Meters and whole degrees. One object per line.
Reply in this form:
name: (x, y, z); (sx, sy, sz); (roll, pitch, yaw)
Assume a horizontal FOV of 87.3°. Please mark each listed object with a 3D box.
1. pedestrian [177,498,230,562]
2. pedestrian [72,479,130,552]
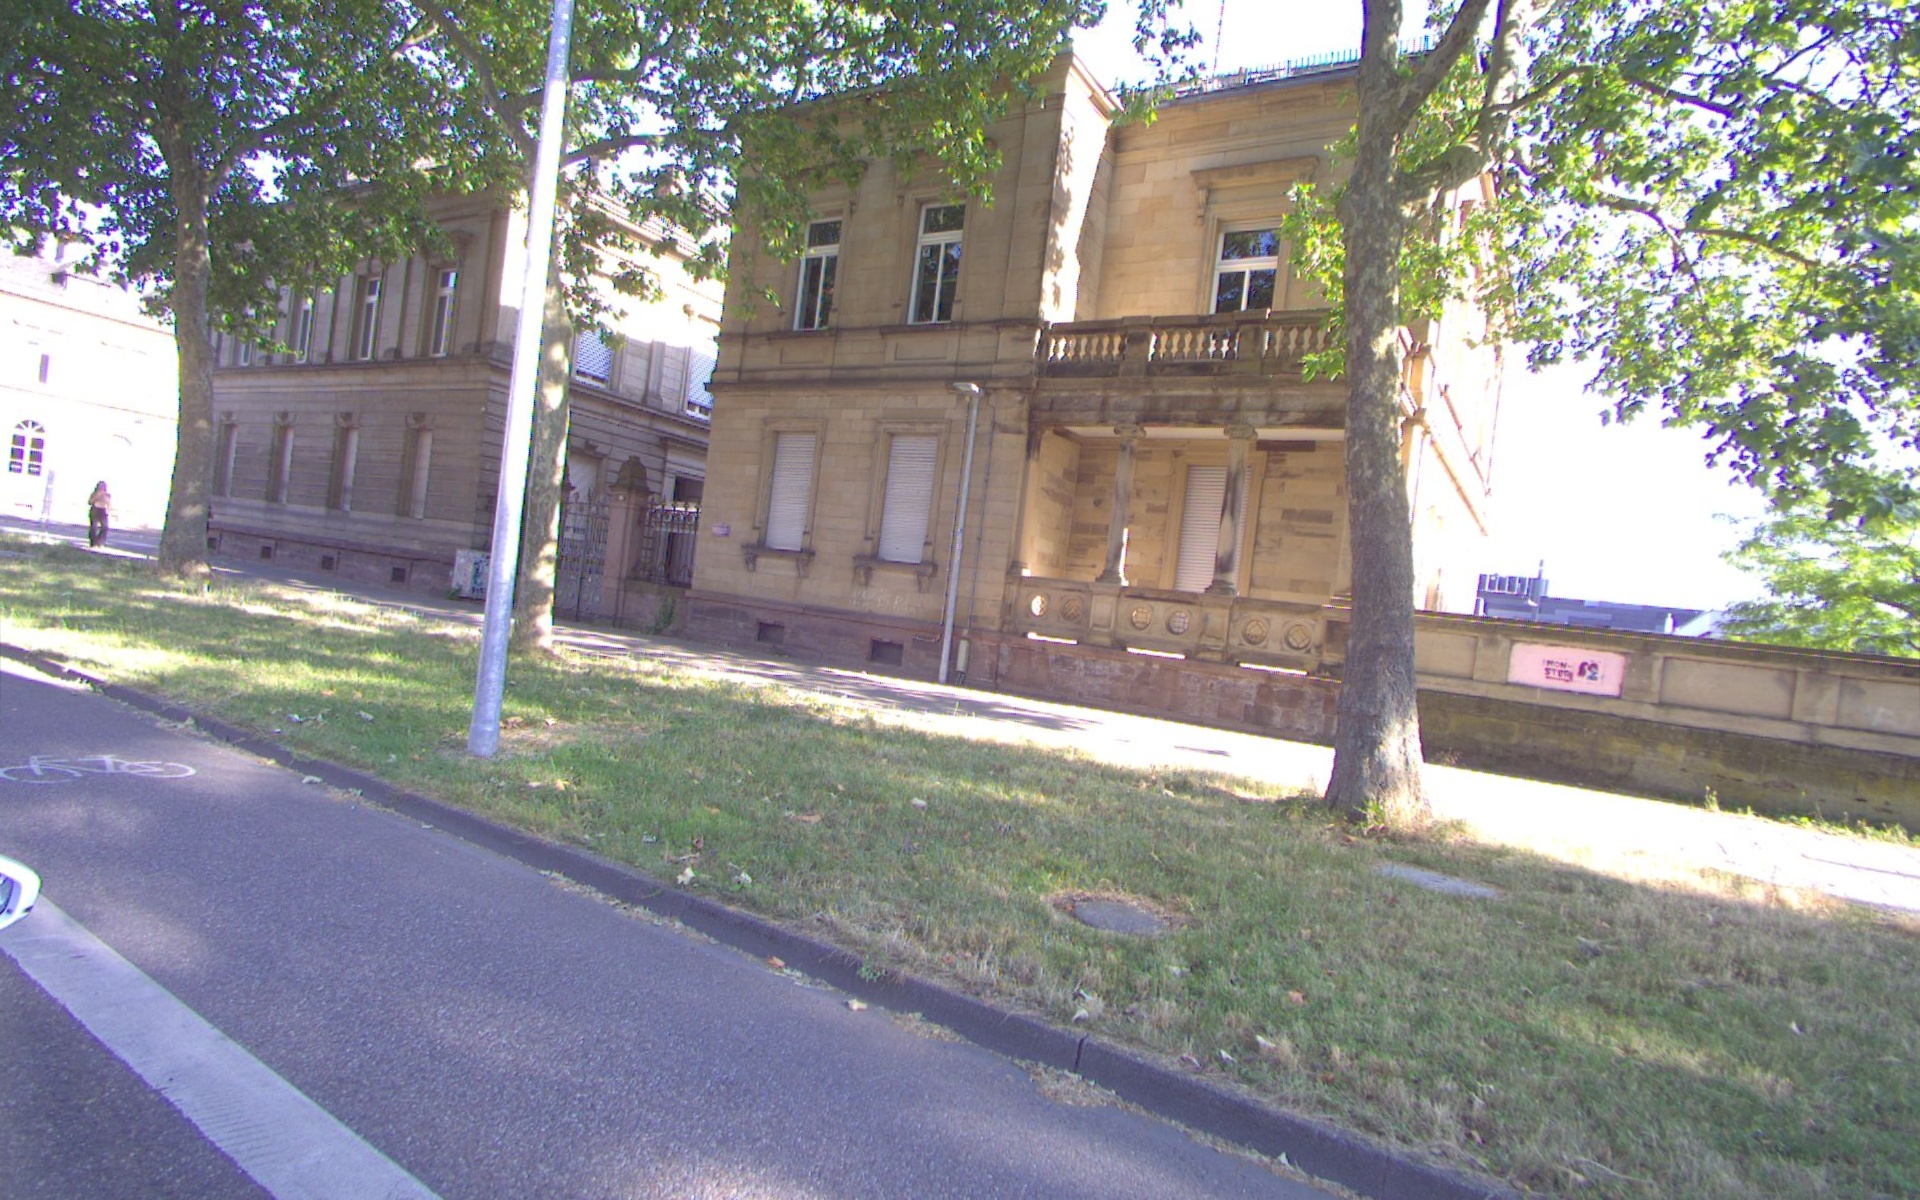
pedestrian: (-20.759, -1.921, 27.603); (0.970, 1.626, 0.770); (7, 1, 34)
pedestrian: (-22.103, -2.164, 25.889); (1.025, 1.731, 0.770); (7, 1, 34)
